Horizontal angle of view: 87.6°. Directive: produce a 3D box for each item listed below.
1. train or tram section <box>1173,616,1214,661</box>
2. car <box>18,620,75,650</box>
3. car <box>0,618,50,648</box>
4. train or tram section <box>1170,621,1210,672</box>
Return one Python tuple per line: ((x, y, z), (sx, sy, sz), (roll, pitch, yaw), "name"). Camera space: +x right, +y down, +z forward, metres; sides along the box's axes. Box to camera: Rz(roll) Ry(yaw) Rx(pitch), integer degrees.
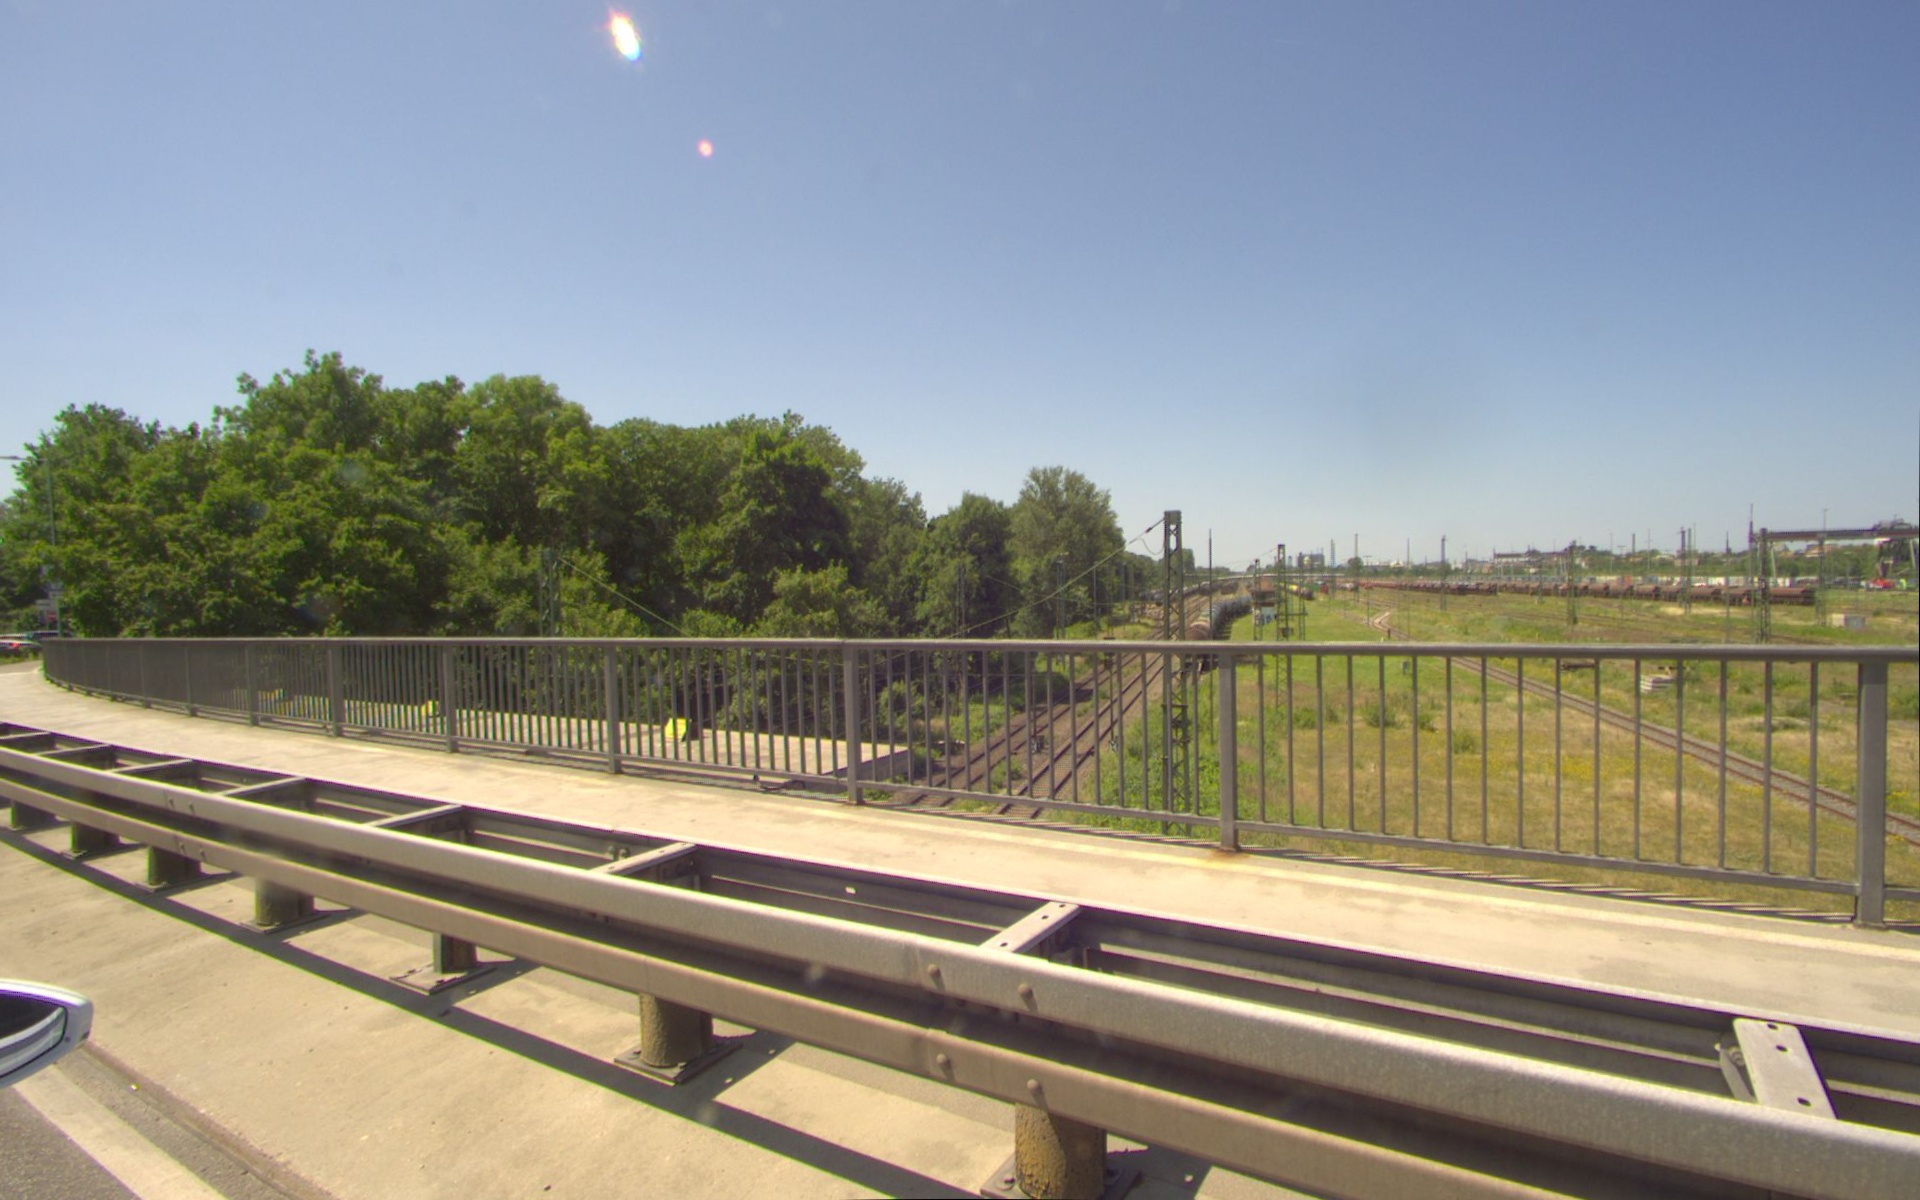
((28.176, 4.458, 120.166), (3.783, 4.366, 13.605), (-2, 1, 17), "train or tram section")
((-56.328, 2.144, 61.804), (1.666, 1.783, 3.982), (0, -2, -29), "car")
((-52.922, 1.880, 56.155), (1.972, 1.594, 3.981), (2, -4, -31), "car")
((24.631, 4.847, 106.983), (3.781, 4.366, 13.612), (-2, 1, 14), "train or tram section")
